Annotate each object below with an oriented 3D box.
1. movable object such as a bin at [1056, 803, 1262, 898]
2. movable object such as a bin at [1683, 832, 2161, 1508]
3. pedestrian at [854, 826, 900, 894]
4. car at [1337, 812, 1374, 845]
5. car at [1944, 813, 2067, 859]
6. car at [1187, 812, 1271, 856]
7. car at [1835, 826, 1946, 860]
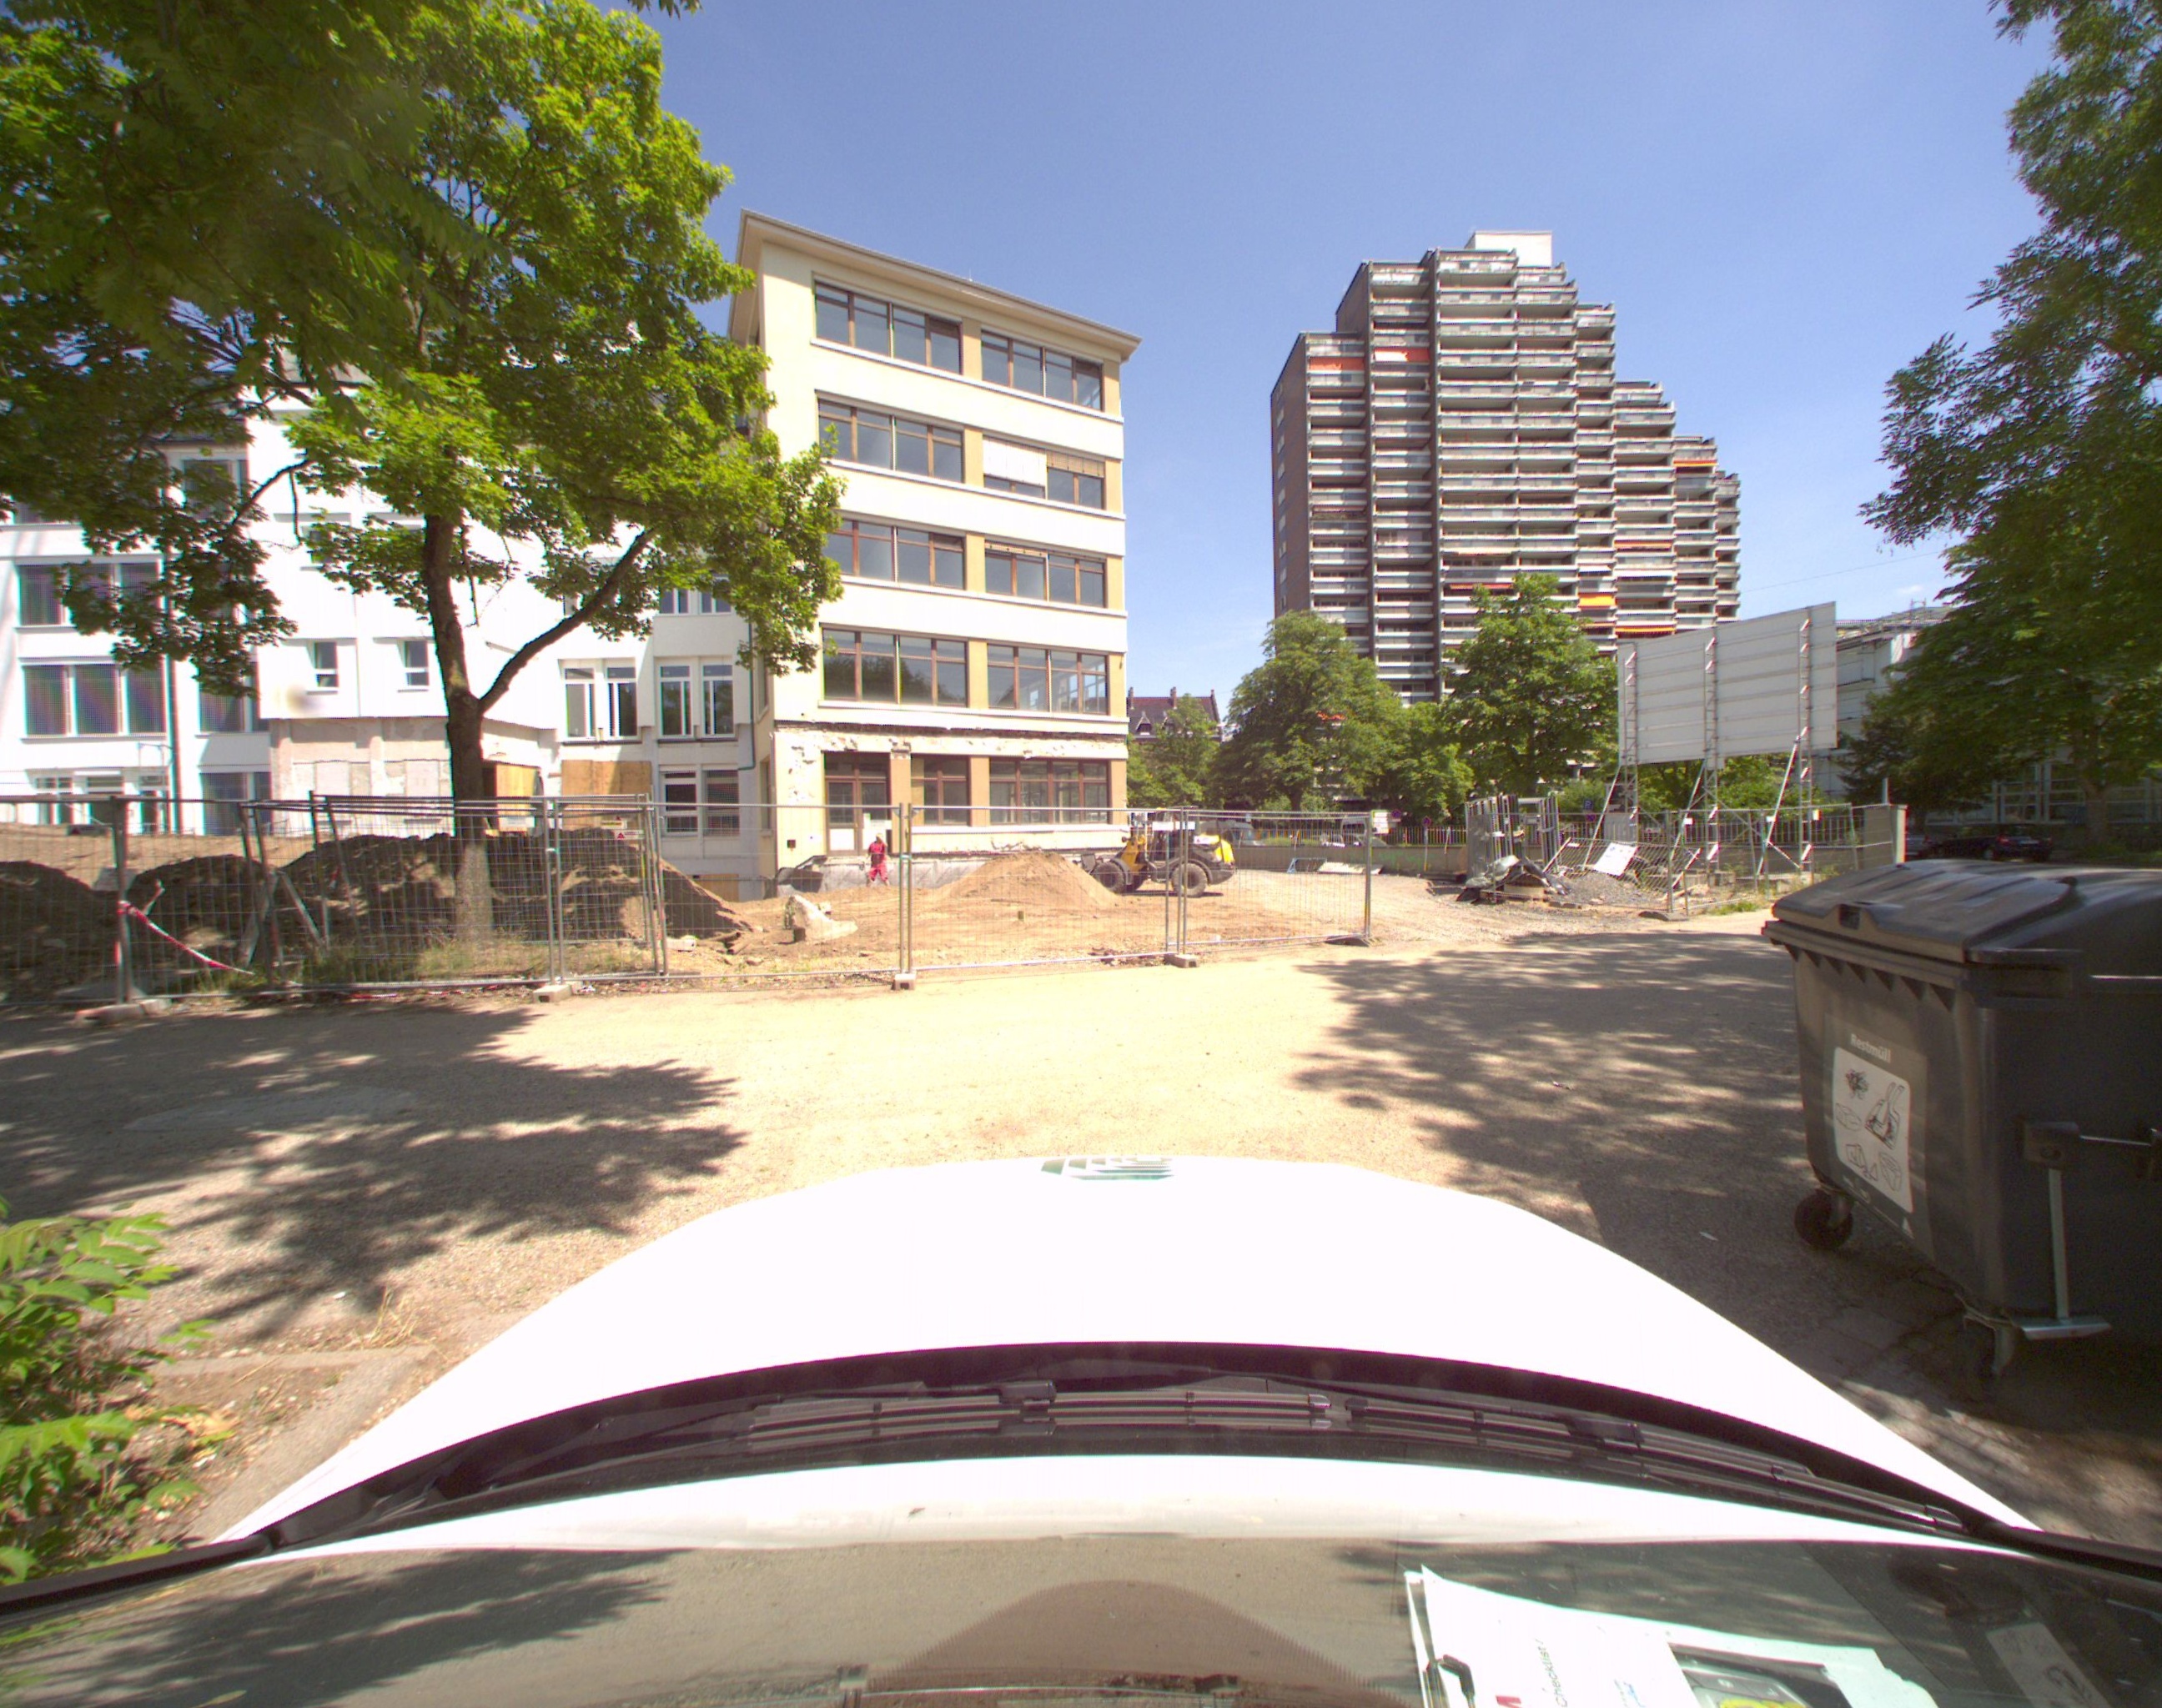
[{"bbox_3d":[2.238,-0.163,23.090,5.358,2.464,2.380,1,2,19],"label":"movable object such as a bin"},{"bbox_3d":[2.852,0.676,2.452,1.071,1.458,1.378,-1,1,2],"label":"movable object such as a bin"},{"bbox_3d":[-5.724,0.146,22.807,0.989,1.846,0.908,-2,1,-32],"label":"pedestrian"},{"bbox_3d":[20.117,-1.857,59.565,2.165,2.258,4.896,-1,1,22],"label":"car"},{"bbox_3d":[35.384,-0.707,31.320,1.992,1.629,3.955,-1,1,31],"label":"car"},{"bbox_3d":[8.579,-1.120,47.665,2.005,2.416,5.196,-2,1,-28],"label":"car"},{"bbox_3d":[33.589,-0.478,33.931,1.897,1.310,3.952,-1,1,22],"label":"car"}]
